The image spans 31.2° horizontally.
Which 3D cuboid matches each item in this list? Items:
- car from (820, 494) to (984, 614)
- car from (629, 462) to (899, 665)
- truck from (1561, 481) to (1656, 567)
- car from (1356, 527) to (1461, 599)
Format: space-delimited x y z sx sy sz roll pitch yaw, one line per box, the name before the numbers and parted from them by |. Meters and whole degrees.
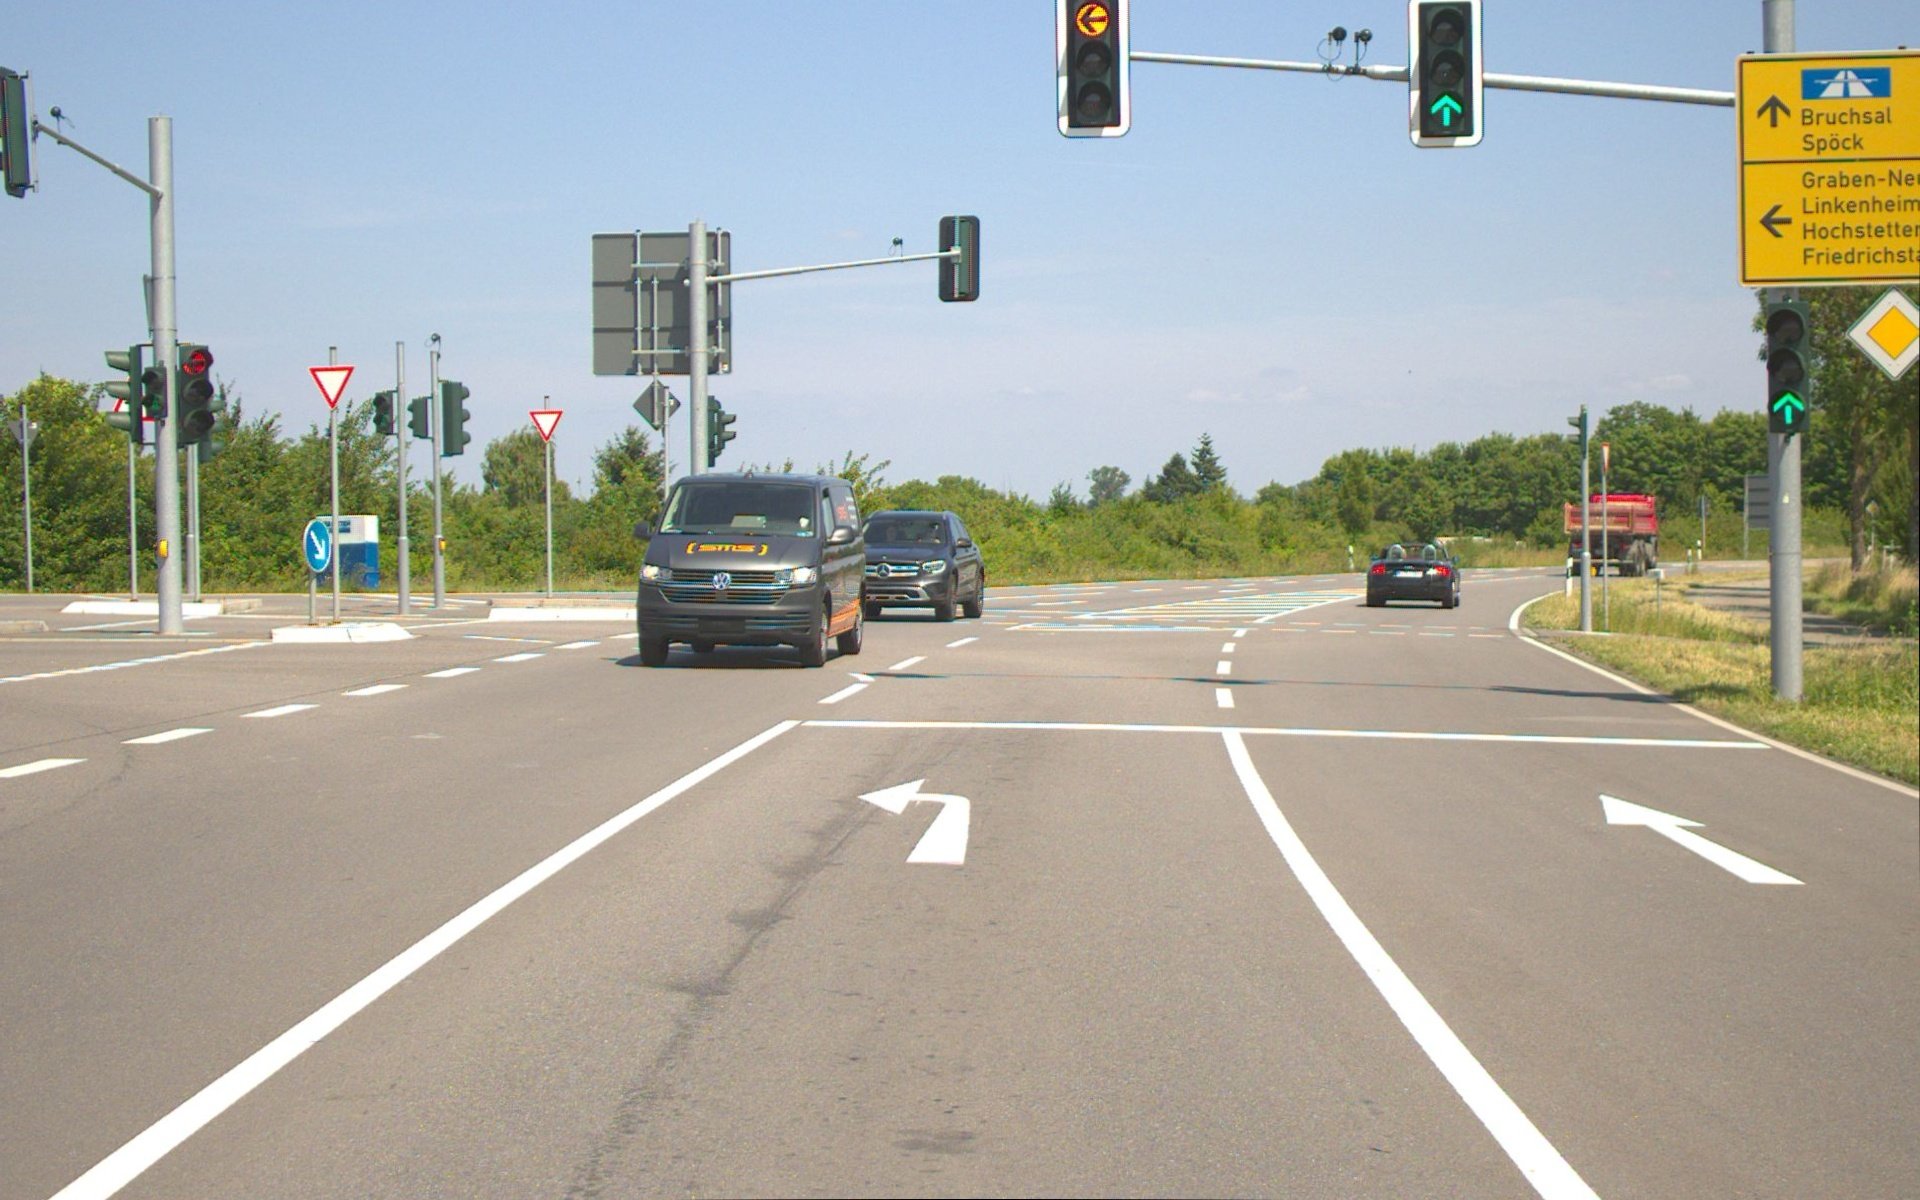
car | -0.831 -0.739 52.506 1.931 1.733 4.888 1 2 6
car | -1.967 -0.423 35.992 1.931 1.971 4.683 1 2 8
truck | 24.123 -2.766 127.573 2.716 3.042 8.158 0 0 16
car | 9.103 -0.734 69.623 1.748 1.371 3.677 1 0 13
